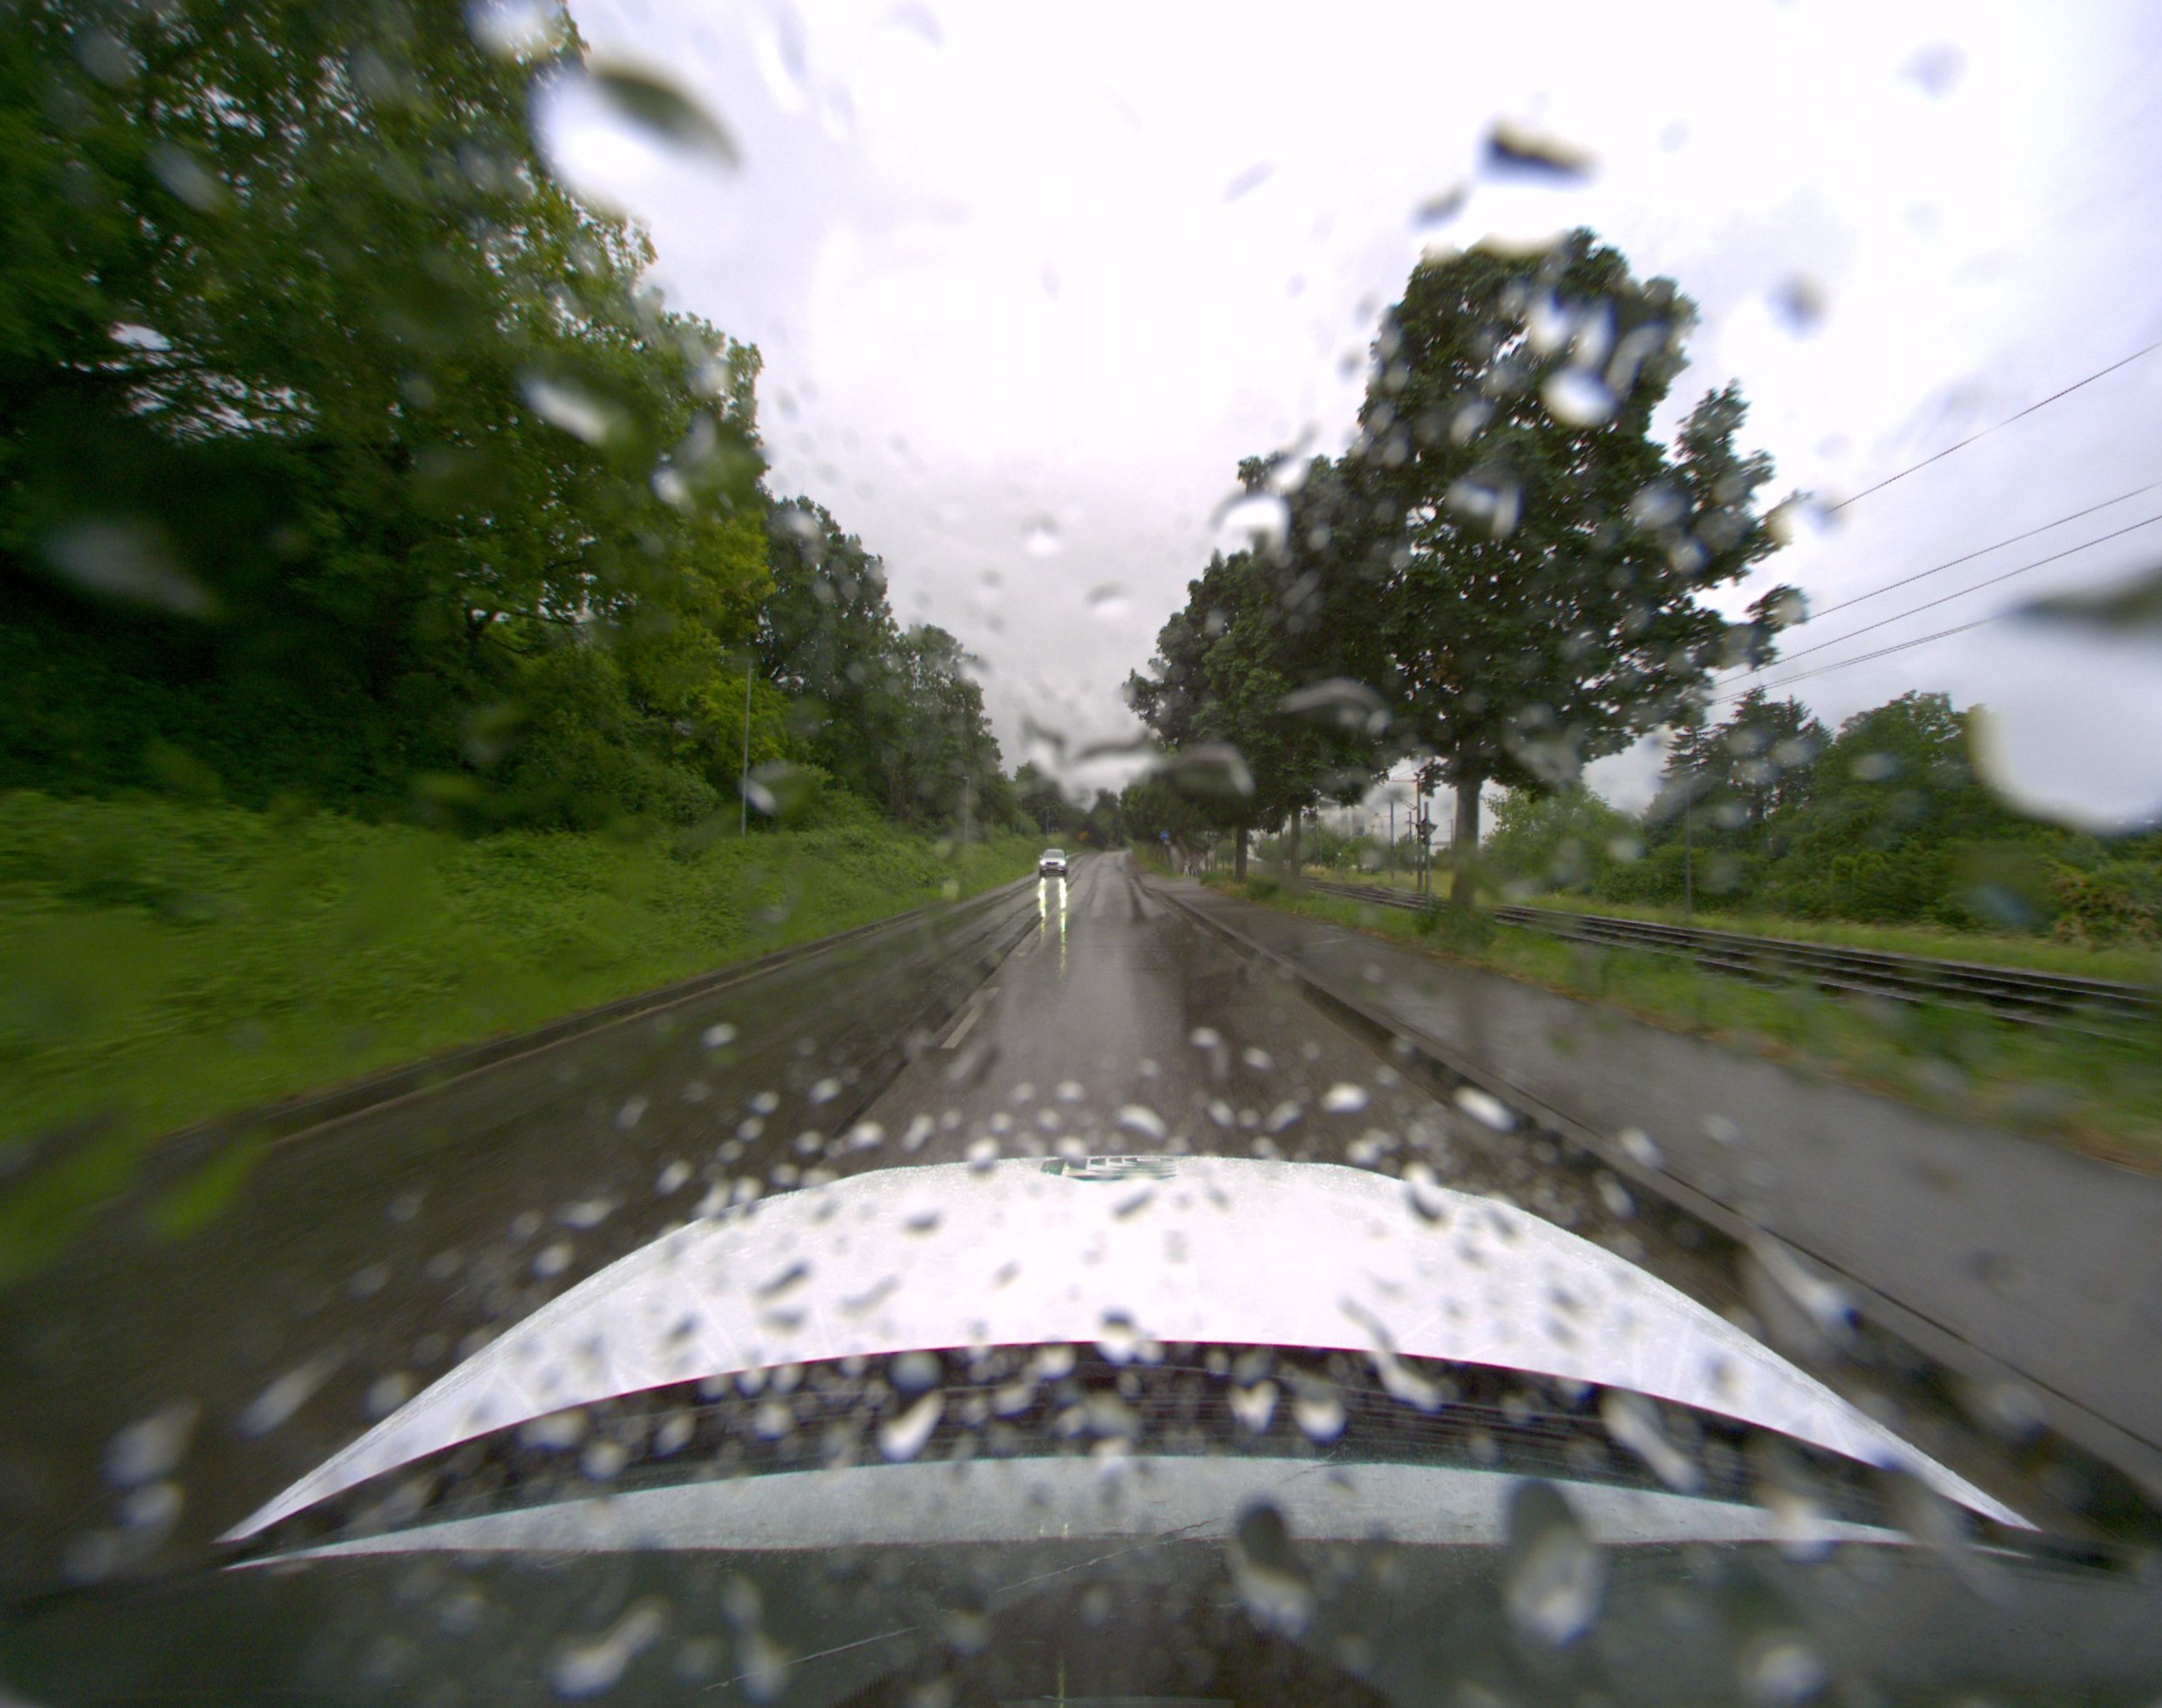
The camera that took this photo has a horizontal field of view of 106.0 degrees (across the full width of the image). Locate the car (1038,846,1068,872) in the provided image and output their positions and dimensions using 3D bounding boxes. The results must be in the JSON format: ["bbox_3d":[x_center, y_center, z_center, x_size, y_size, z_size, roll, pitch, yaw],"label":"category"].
[{"bbox_3d":[-1.830,0.309,53.950,1.738,1.612,4.089,0,1,1],"label":"car"}]
